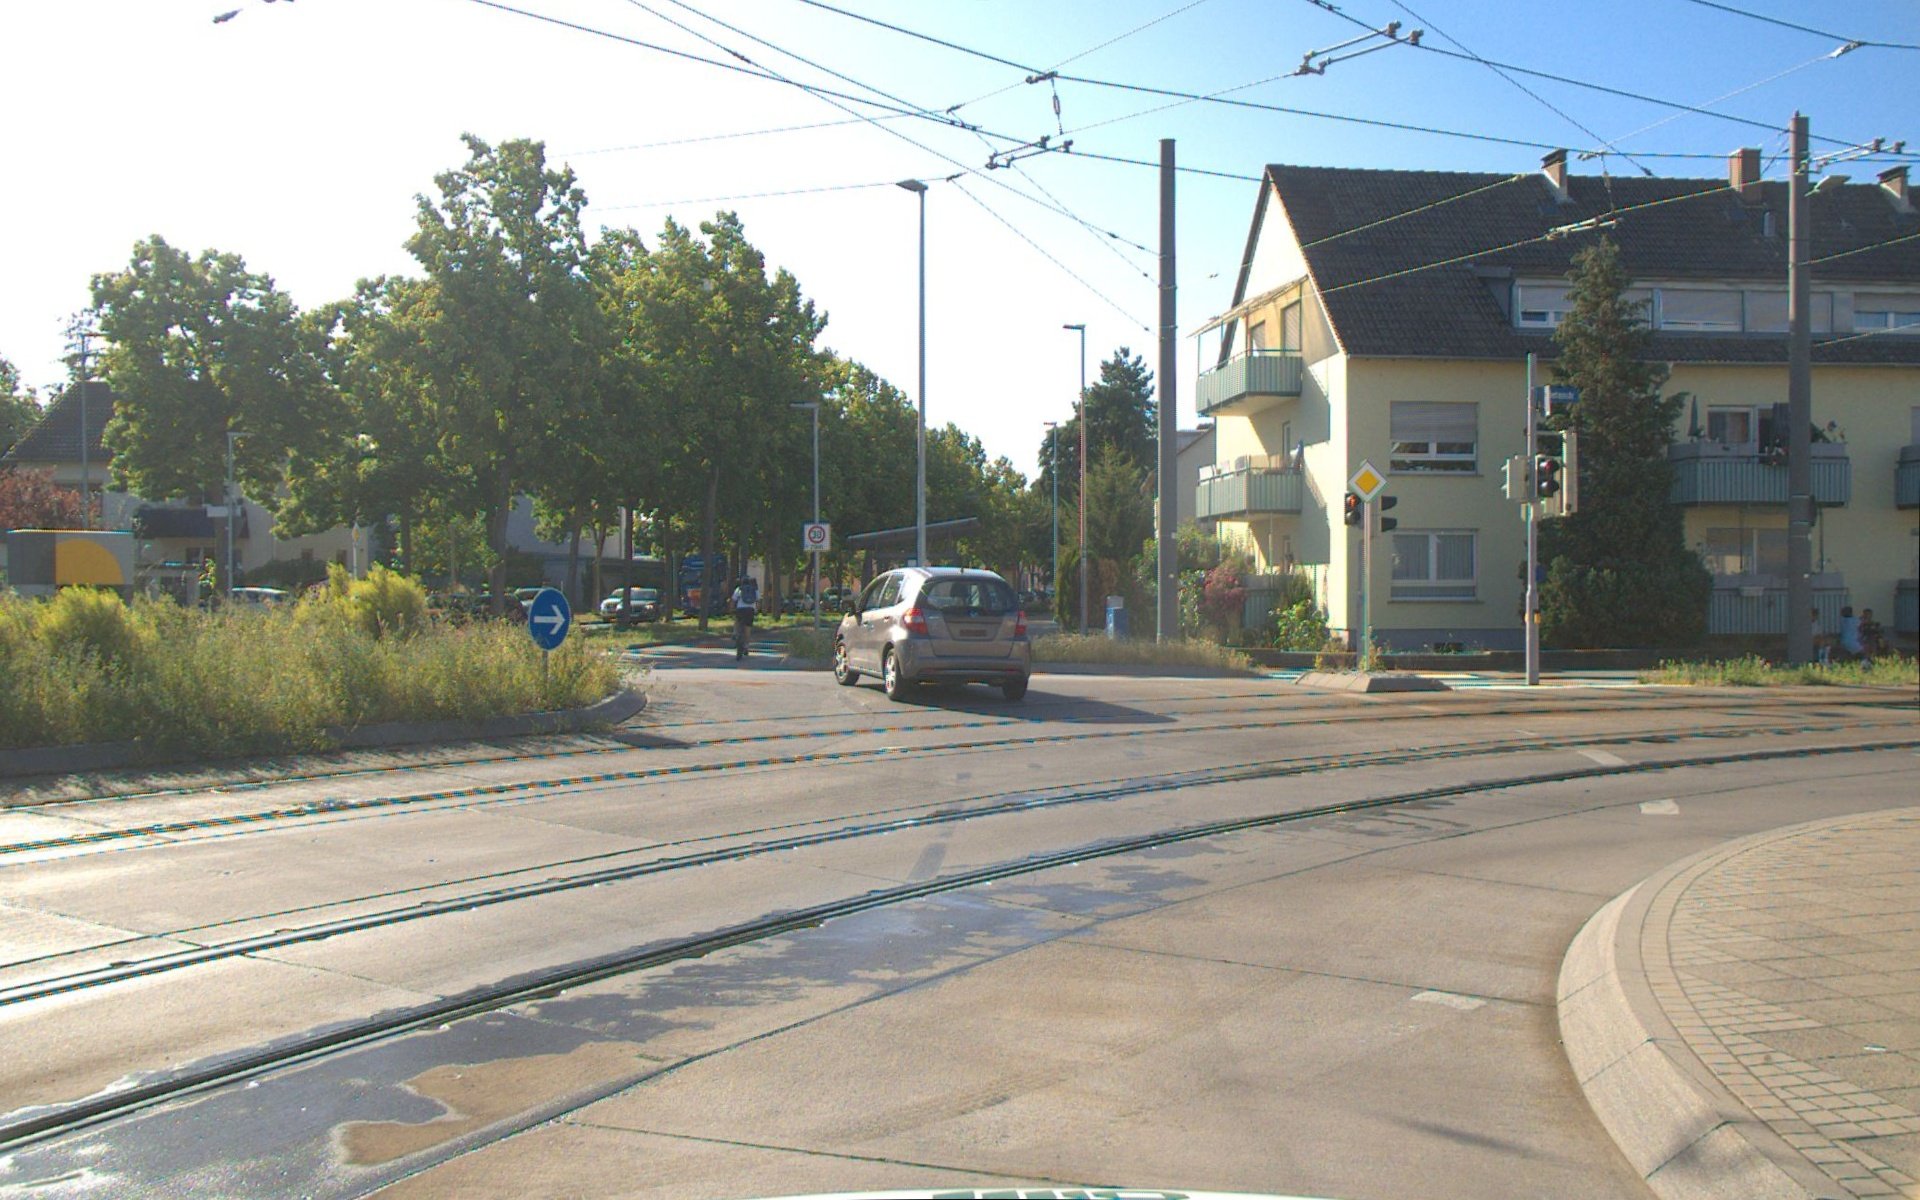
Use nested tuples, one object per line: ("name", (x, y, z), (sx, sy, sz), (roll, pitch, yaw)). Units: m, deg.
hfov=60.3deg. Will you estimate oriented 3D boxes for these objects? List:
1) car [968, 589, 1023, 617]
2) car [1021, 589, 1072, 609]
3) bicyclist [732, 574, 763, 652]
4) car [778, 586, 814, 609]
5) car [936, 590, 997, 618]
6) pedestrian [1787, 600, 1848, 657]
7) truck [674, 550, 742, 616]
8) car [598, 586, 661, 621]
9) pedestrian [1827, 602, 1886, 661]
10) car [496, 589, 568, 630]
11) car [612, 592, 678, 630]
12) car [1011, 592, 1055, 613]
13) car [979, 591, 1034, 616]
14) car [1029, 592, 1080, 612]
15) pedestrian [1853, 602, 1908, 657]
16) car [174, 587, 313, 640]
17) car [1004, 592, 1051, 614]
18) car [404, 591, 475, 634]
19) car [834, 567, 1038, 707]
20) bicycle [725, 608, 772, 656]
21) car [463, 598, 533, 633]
("car", (2.142, 0.167, 99.920), (3.290, 1.560, 1.523), (1, 0, 0))
("car", (5.946, -0.062, 114.094), (3.444, 1.301, 1.577), (1, 0, 0))
("bicyclist", (-4.832, 0.302, 37.630), (0.594, 1.744, 0.541), (0, -4, -19))
("car", (-12.604, -0.213, 127.423), (1.951, 1.729, 4.221), (1, 0, 5))
("car", (0.399, 0.229, 94.338), (3.340, 1.560, 1.526), (0, 0, 5))
("pedestrian", (16.181, 0.531, 31.223), (0.673, 1.065, 0.818), (0, 0, -8))
("truck", (-16.178, -1.097, 106.696), (3.006, 4.062, 8.009), (1, 1, 1))
("car", (-17.736, 0.183, 89.035), (1.951, 1.804, 5.063), (1, 0, 5))
("pedestrian", (17.010, 0.593, 31.387), (0.620, 1.083, 0.808), (1, 0, -39))
("car", (-18.719, 0.396, 72.494), (1.952, 1.729, 4.218), (1, 0, 1))
("car", (-14.284, 0.485, 75.253), (1.792, 1.608, 4.443), (1, 0, 5))
("car", (5.934, 0.195, 134.678), (3.444, 1.560, 1.577), (1, 0, 0))
("car", (2.936, 0.213, 104.693), (3.407, 1.519, 1.552), (1, 0, 0))
("car", (6.483, 0.151, 113.981), (3.444, 1.318, 1.577), (1, 0, 0))
("pedestrian", (17.600, 0.568, 31.632), (0.587, 1.023, 0.717), (1, 0, -30))
("car", (-25.041, 0.459, 57.926), (3.953, 1.724, 2.001), (1, 0, 2))
("car", (5.054, 0.216, 124.051), (3.444, 1.560, 1.577), (1, 0, 0))
("car", (-19.318, 0.447, 61.511), (1.765, 1.490, 3.796), (1, 0, -7))
("car", (-0.405, 0.370, 20.520), (1.659, 1.516, 3.899), (0, 2, -15))
("bicycle", (-4.777, 0.739, 37.313), (0.754, 1.055, 1.525), (1, -2, -19))
("car", (-18.856, 0.621, 67.683), (1.922, 1.347, 3.997), (1, 0, -3))
